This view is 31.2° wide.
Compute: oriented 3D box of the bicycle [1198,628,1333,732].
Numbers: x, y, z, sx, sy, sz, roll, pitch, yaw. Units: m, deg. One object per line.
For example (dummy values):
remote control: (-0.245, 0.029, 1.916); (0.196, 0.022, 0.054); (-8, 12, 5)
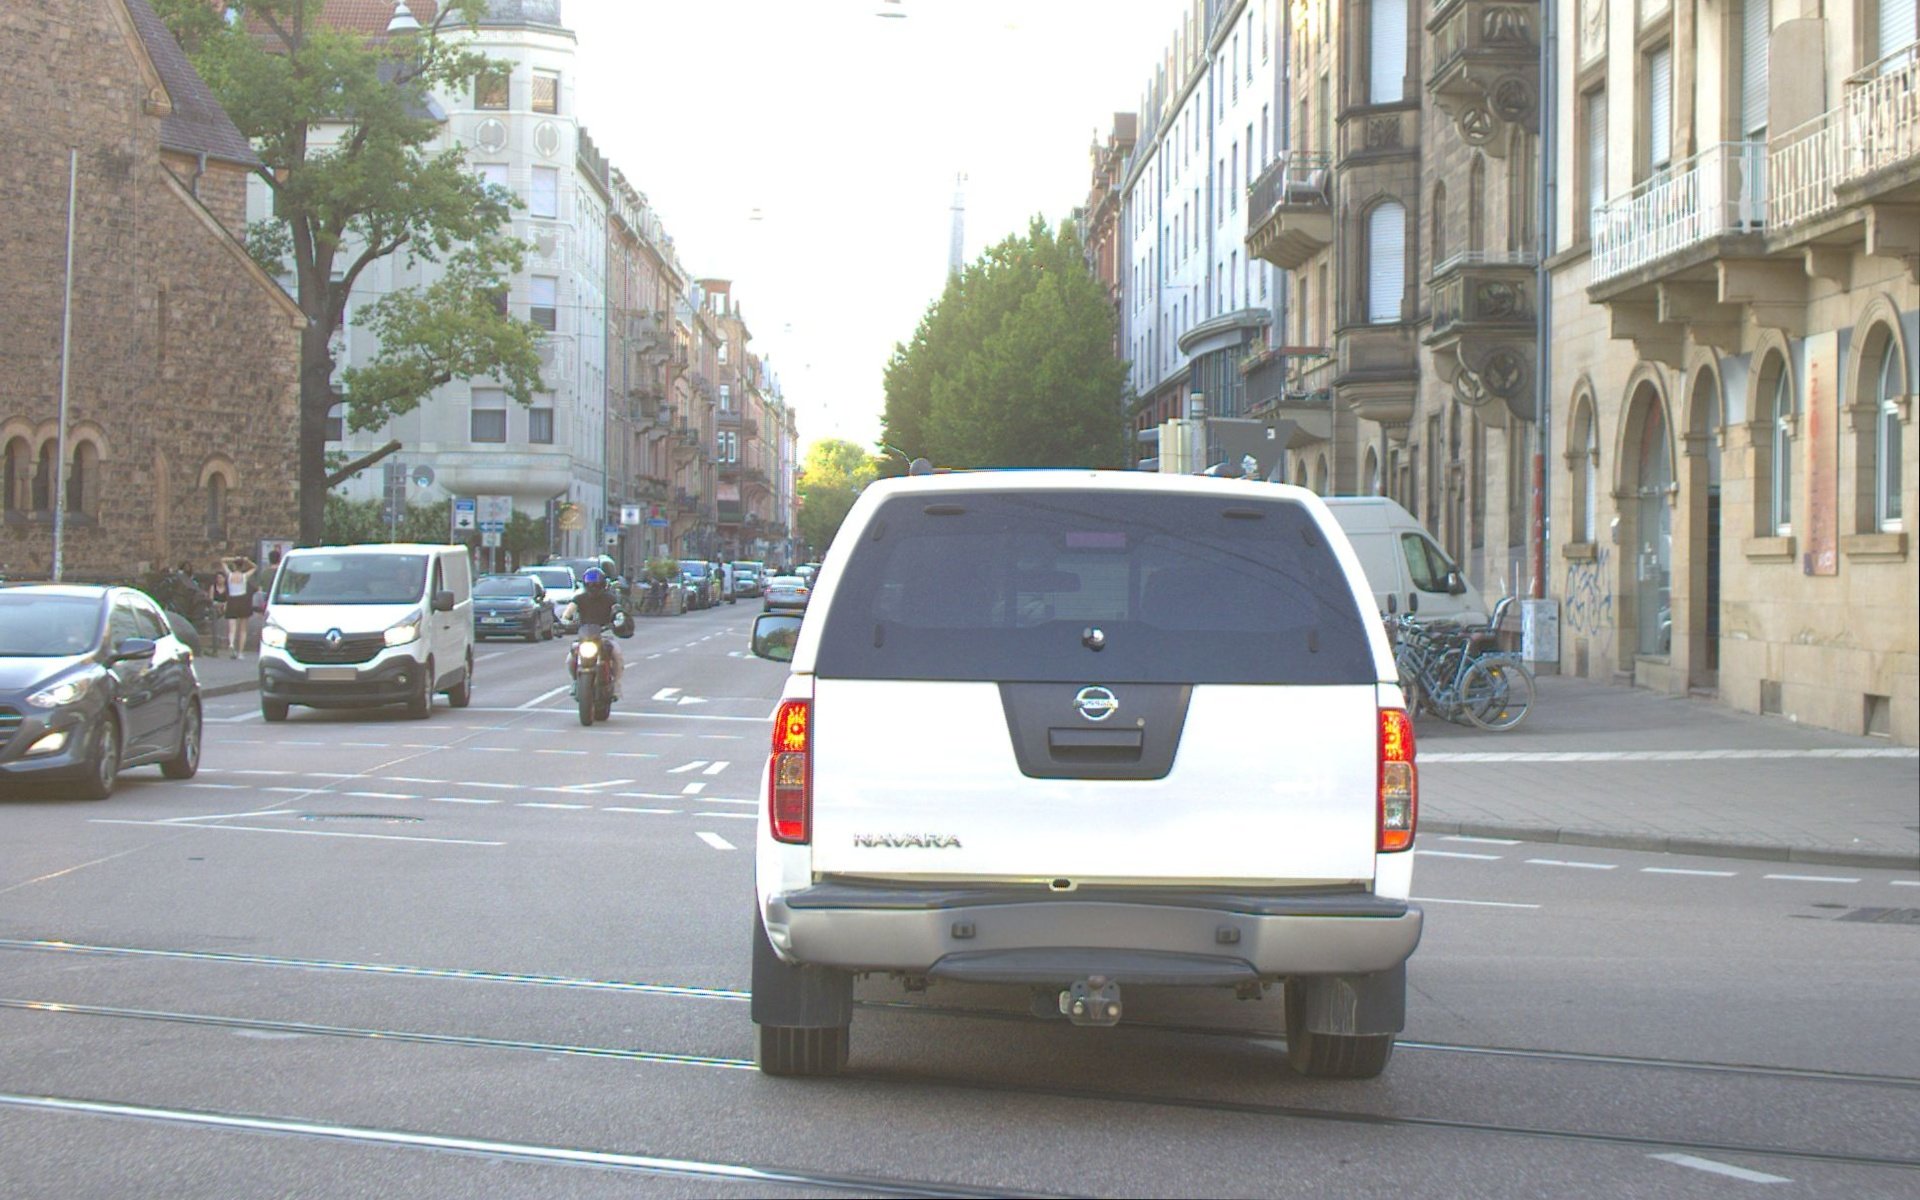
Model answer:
bicycle: (3.163, 0.826, 35.636); (1.333, 1.021, 0.317); (-2, 0, -2)

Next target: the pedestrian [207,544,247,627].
pedestrian: (-15.121, -0.297, 70.934); (0.643, 1.690, 0.562); (2, 0, 0)

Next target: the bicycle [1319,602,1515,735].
bicycle: (4.508, 0.672, 33.947); (1.817, 1.233, 0.488); (-2, 0, -2)

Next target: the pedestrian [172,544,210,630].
pedestrian: (-15.352, -0.255, 68.636); (0.642, 1.690, 0.562); (2, 0, -8)

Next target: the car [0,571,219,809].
car: (-6.518, 0.549, 23.678); (1.993, 1.472, 4.140); (0, 1, -1)

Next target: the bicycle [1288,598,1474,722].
bicycle: (4.467, 0.635, 36.521); (1.855, 1.233, 0.531); (-2, 0, -2)

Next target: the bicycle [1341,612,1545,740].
bicycle: (4.627, 0.723, 33.005); (1.817, 1.146, 0.636); (-2, 0, -2)

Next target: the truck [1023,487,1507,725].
truck: (3.584, 0.070, 39.579); (5.657, 2.556, 2.287); (1, 1, -43)

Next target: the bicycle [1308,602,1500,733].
bicycle: (4.473, 0.673, 34.659); (1.817, 1.233, 0.478); (-2, 0, -2)

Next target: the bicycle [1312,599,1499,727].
bicycle: (4.577, 0.640, 35.383); (1.817, 1.233, 0.412); (-2, 0, -2)

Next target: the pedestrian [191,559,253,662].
pedestrian: (-12.131, 0.167, 56.540); (0.812, 1.664, 0.859); (2, 0, -2)

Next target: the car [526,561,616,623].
car: (-10.093, -0.212, 89.388); (1.858, 1.524, 4.000); (2, 0, 0)

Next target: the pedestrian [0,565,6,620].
pedestrian: (-17.093, -0.137, 59.922); (0.552, 0.957, 0.709); (2, 0, 21)

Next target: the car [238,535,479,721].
car: (-6.887, 0.294, 39.882); (1.993, 2.007, 4.951); (0, 0, -1)

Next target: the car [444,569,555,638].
car: (-9.963, 0.063, 74.608); (1.858, 1.393, 4.000); (2, 0, 0)

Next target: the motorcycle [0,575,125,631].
motorcycle: (-16.960, 0.053, 64.863); (2.243, 0.984, 0.708); (2, 0, -5)

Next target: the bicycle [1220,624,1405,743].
bicycle: (3.434, 0.811, 33.489); (1.726, 1.080, 0.317); (-2, 0, -2)

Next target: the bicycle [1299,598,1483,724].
bicycle: (4.508, 0.635, 35.989); (1.817, 1.233, 0.410); (-2, 0, -2)

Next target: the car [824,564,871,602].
car: (-4.805, -0.721, 147.495); (1.858, 1.524, 4.000); (2, 0, 0)

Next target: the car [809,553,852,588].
car: (-5.957, -1.330, 157.821); (1.920, 1.524, 4.000); (2, 0, -3)

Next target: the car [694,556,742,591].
car: (-10.947, -1.200, 155.528); (1.858, 1.524, 4.000); (2, 0, 0)

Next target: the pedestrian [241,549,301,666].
pedestrian: (-11.349, 0.124, 56.611); (0.812, 1.894, 0.666); (2, 0, -2)

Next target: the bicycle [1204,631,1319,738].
bicycle: (3.013, 0.840, 34.380); (1.077, 1.021, 0.317); (-2, 0, -2)

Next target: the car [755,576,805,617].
car: (-7.106, -0.157, 135.593); (1.858, 1.524, 4.000); (2, 0, -4)

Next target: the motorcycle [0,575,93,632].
motorcycle: (-17.065, 0.057, 62.837); (2.243, 0.984, 0.708); (2, 0, -5)

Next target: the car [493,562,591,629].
car: (-10.048, -0.117, 82.805); (1.858, 1.524, 4.000); (2, 0, 0)

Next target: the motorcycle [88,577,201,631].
motorcycle: (-15.925, 0.077, 67.135); (2.167, 0.984, 0.593); (2, 0, 20)

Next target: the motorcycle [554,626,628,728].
motorcycle: (-3.992, 0.821, 37.297); (0.599, 1.040, 1.946); (2, 0, -1)

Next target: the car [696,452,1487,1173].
car: (0.350, 0.543, 10.921); (1.993, 1.803, 4.000); (2, 0, 0)

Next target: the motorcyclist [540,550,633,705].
motorcyclist: (-4.061, 0.291, 37.417); (0.874, 1.639, 0.963); (2, 0, -1)

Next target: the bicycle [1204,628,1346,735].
bicycle: (3.210, 0.828, 35.088); (1.371, 1.021, 0.317); (-2, 0, -2)
